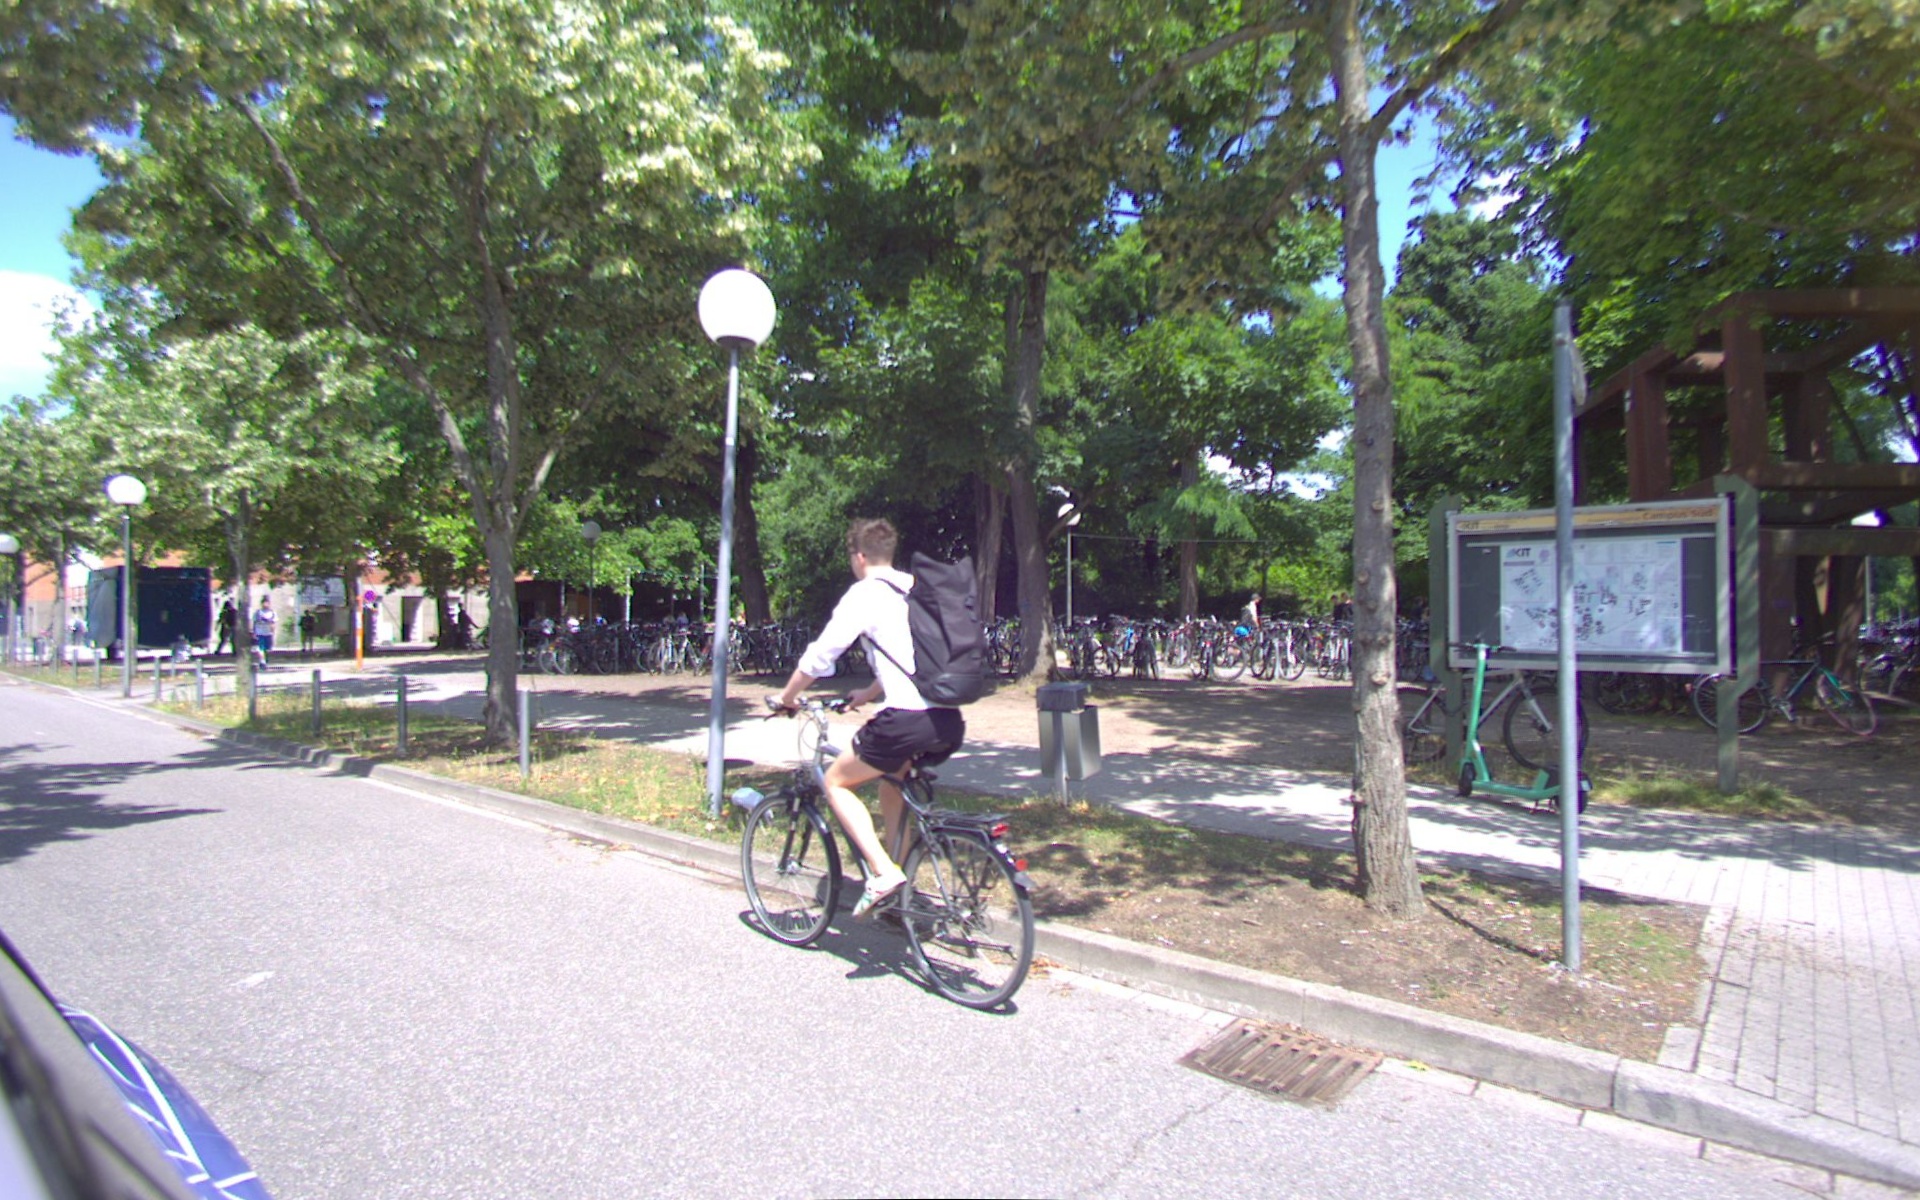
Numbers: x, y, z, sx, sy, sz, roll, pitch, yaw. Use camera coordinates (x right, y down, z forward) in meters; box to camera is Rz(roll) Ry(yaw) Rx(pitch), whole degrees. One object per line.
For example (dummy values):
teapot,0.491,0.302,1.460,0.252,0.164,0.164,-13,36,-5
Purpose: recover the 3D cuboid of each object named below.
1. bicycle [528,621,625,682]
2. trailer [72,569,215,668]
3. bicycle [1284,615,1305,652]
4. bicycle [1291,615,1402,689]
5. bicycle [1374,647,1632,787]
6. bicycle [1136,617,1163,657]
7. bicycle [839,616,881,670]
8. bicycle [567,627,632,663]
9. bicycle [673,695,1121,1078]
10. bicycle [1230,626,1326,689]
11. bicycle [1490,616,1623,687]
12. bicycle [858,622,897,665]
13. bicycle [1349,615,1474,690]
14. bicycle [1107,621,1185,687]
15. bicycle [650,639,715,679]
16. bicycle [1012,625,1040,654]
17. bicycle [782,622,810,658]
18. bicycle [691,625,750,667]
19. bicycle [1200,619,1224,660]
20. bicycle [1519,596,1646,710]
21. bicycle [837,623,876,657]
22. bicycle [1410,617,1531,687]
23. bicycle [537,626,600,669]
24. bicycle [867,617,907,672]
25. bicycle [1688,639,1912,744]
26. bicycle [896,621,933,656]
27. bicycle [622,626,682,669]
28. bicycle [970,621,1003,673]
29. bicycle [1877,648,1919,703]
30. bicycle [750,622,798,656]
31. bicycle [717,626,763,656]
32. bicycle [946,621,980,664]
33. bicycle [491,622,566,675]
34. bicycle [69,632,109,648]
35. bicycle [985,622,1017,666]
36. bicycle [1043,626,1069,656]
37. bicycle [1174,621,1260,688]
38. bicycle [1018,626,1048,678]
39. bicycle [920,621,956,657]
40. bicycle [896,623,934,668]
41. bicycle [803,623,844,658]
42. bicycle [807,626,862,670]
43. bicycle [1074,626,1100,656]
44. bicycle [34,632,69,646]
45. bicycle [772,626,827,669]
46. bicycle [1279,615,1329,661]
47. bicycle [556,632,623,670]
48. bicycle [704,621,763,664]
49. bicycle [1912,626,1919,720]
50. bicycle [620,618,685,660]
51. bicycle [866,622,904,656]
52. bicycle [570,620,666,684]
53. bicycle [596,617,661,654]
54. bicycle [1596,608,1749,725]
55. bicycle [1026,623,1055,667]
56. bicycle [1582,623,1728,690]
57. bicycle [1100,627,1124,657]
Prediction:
bicycle,-8.414,1.105,22.301,0.803,1.244,2.045,-1,-1,23
trailer,-27.667,0.638,34.201,6.262,3.049,2.669,-2,-1,41
bicycle,10.037,0.997,30.386,0.501,1.043,2.050,-1,-1,17
bicycle,7.324,0.946,19.375,0.870,1.296,2.934,-1,-1,-2
bicycle,4.385,0.916,8.282,1.807,1.033,0.379,-1,-1,29
bicycle,5.984,1.150,31.876,0.421,1.216,1.783,-1,-1,23
bicycle,-2.451,1.039,24.929,0.632,1.244,2.057,-2,-1,5
bicycle,-10.803,1.345,30.344,0.537,1.022,1.783,-2,-1,43
bicycle,-0.332,1.018,4.188,1.886,1.138,0.678,-1,-2,39
bicycle,6.014,1.061,19.337,0.870,1.084,2.685,-1,-1,-2
bicycle,11.220,0.934,19.200,0.732,1.242,2.838,0,-1,-2
bicycle,-2.228,1.167,27.453,0.541,1.097,1.960,-1,-1,11
bicycle,8.542,0.943,19.348,0.870,1.306,3.084,-1,-1,-2
bicycle,3.611,1.020,19.953,0.870,1.187,2.884,-1,-1,-2
bicycle,-7.796,1.641,28.471,0.535,1.035,1.947,-1,-1,30
bicycle,2.165,1.278,32.914,0.416,0.900,1.755,-1,-1,20
bicycle,-5.458,1.318,33.765,0.589,1.099,1.957,0,0,1
bicycle,-6.656,1.255,28.213,0.534,1.097,1.952,-1,-1,23
bicycle,7.796,1.198,31.236,0.421,1.216,1.783,-1,-1,23
bicycle,8.650,0.701,14.185,0.600,1.461,2.285,-1,-1,7
bicycle,-3.467,1.327,34.024,0.592,1.099,1.946,0,0,18
bicycle,9.759,0.949,19.523,0.732,1.134,2.962,-1,1,-2
bicycle,-10.659,1.271,27.606,0.543,1.097,1.849,-1,-1,19
bicycle,-1.781,1.062,24.839,0.632,1.244,2.057,-2,0,5
bicycle,8.370,0.889,10.173,1.650,0.972,0.472,-1,-1,30
bicycle,-1.527,1.283,34.160,0.592,1.099,1.946,0,0,18
bicycle,-8.227,1.251,27.082,0.543,1.097,1.849,-1,-1,19
bicycle,0.652,1.096,24.180,0.632,1.167,2.057,-2,-1,5
bicycle,14.189,1.075,14.554,1.542,0.768,0.322,-1,-1,8
bicycle,-6.398,1.314,34.885,0.594,1.099,1.940,0,0,27
bicycle,-7.656,1.418,35.286,0.544,0.949,1.867,0,0,27
bicycle,0.106,1.129,27.275,0.541,1.097,1.960,-1,-1,11
bicycle,-9.806,1.082,23.054,0.456,1.140,1.765,-1,-1,23
bicycle,-59.010,2.721,68.581,0.662,1.069,2.001,-2,-2,39
bicycle,1.100,1.142,26.771,0.541,1.097,1.960,-1,-1,11
bicycle,3.118,1.308,32.732,0.416,0.900,1.755,-1,-1,20
bicycle,4.929,1.016,19.635,0.870,1.188,2.710,-1,-1,-2
bicycle,1.743,1.201,23.915,0.632,1.141,2.057,-2,-1,5
bicycle,-0.710,1.262,33.082,0.592,1.099,1.946,0,0,18
bicycle,-1.185,1.185,26.827,0.541,1.097,1.960,-1,-1,11
bicycle,-4.579,1.342,34.013,0.592,1.099,1.946,0,0,18
bicycle,-3.395,1.286,27.541,0.544,1.097,1.952,-1,-1,23
bicycle,4.097,1.317,32.525,0.416,0.900,1.755,-1,-1,20
bicycle,-70.895,3.051,78.974,0.541,1.038,1.931,-2,-2,39
bicycle,-4.415,1.288,27.924,0.544,1.097,1.952,-1,-1,23
bicycle,8.748,0.943,25.820,0.726,1.117,2.300,-1,-1,7
bicycle,-10.775,1.462,29.489,0.537,1.022,1.783,-2,-1,43
bicycle,-6.213,1.155,27.839,0.544,1.097,1.952,-1,-1,23
bicycle,11.588,0.809,10.932,1.849,1.040,0.470,-1,-2,41
bicycle,-8.799,1.110,29.065,0.535,1.134,1.947,-1,-1,30
bicycle,-2.509,1.292,34.096,0.592,1.099,1.946,0,0,18
bicycle,-7.355,1.093,21.885,0.803,1.244,2.045,-1,0,23
bicycle,-9.659,1.018,29.556,0.535,1.011,1.947,-1,-1,30
bicycle,8.359,0.763,11.984,0.580,1.263,2.015,-1,-2,8
bicycle,2.130,1.156,26.618,0.541,1.097,1.960,-1,-1,11
bicycle,13.513,1.060,19.825,0.732,1.165,2.913,-1,-1,-2
bicycle,4.859,1.334,32.261,0.416,0.900,1.755,-1,-1,20
